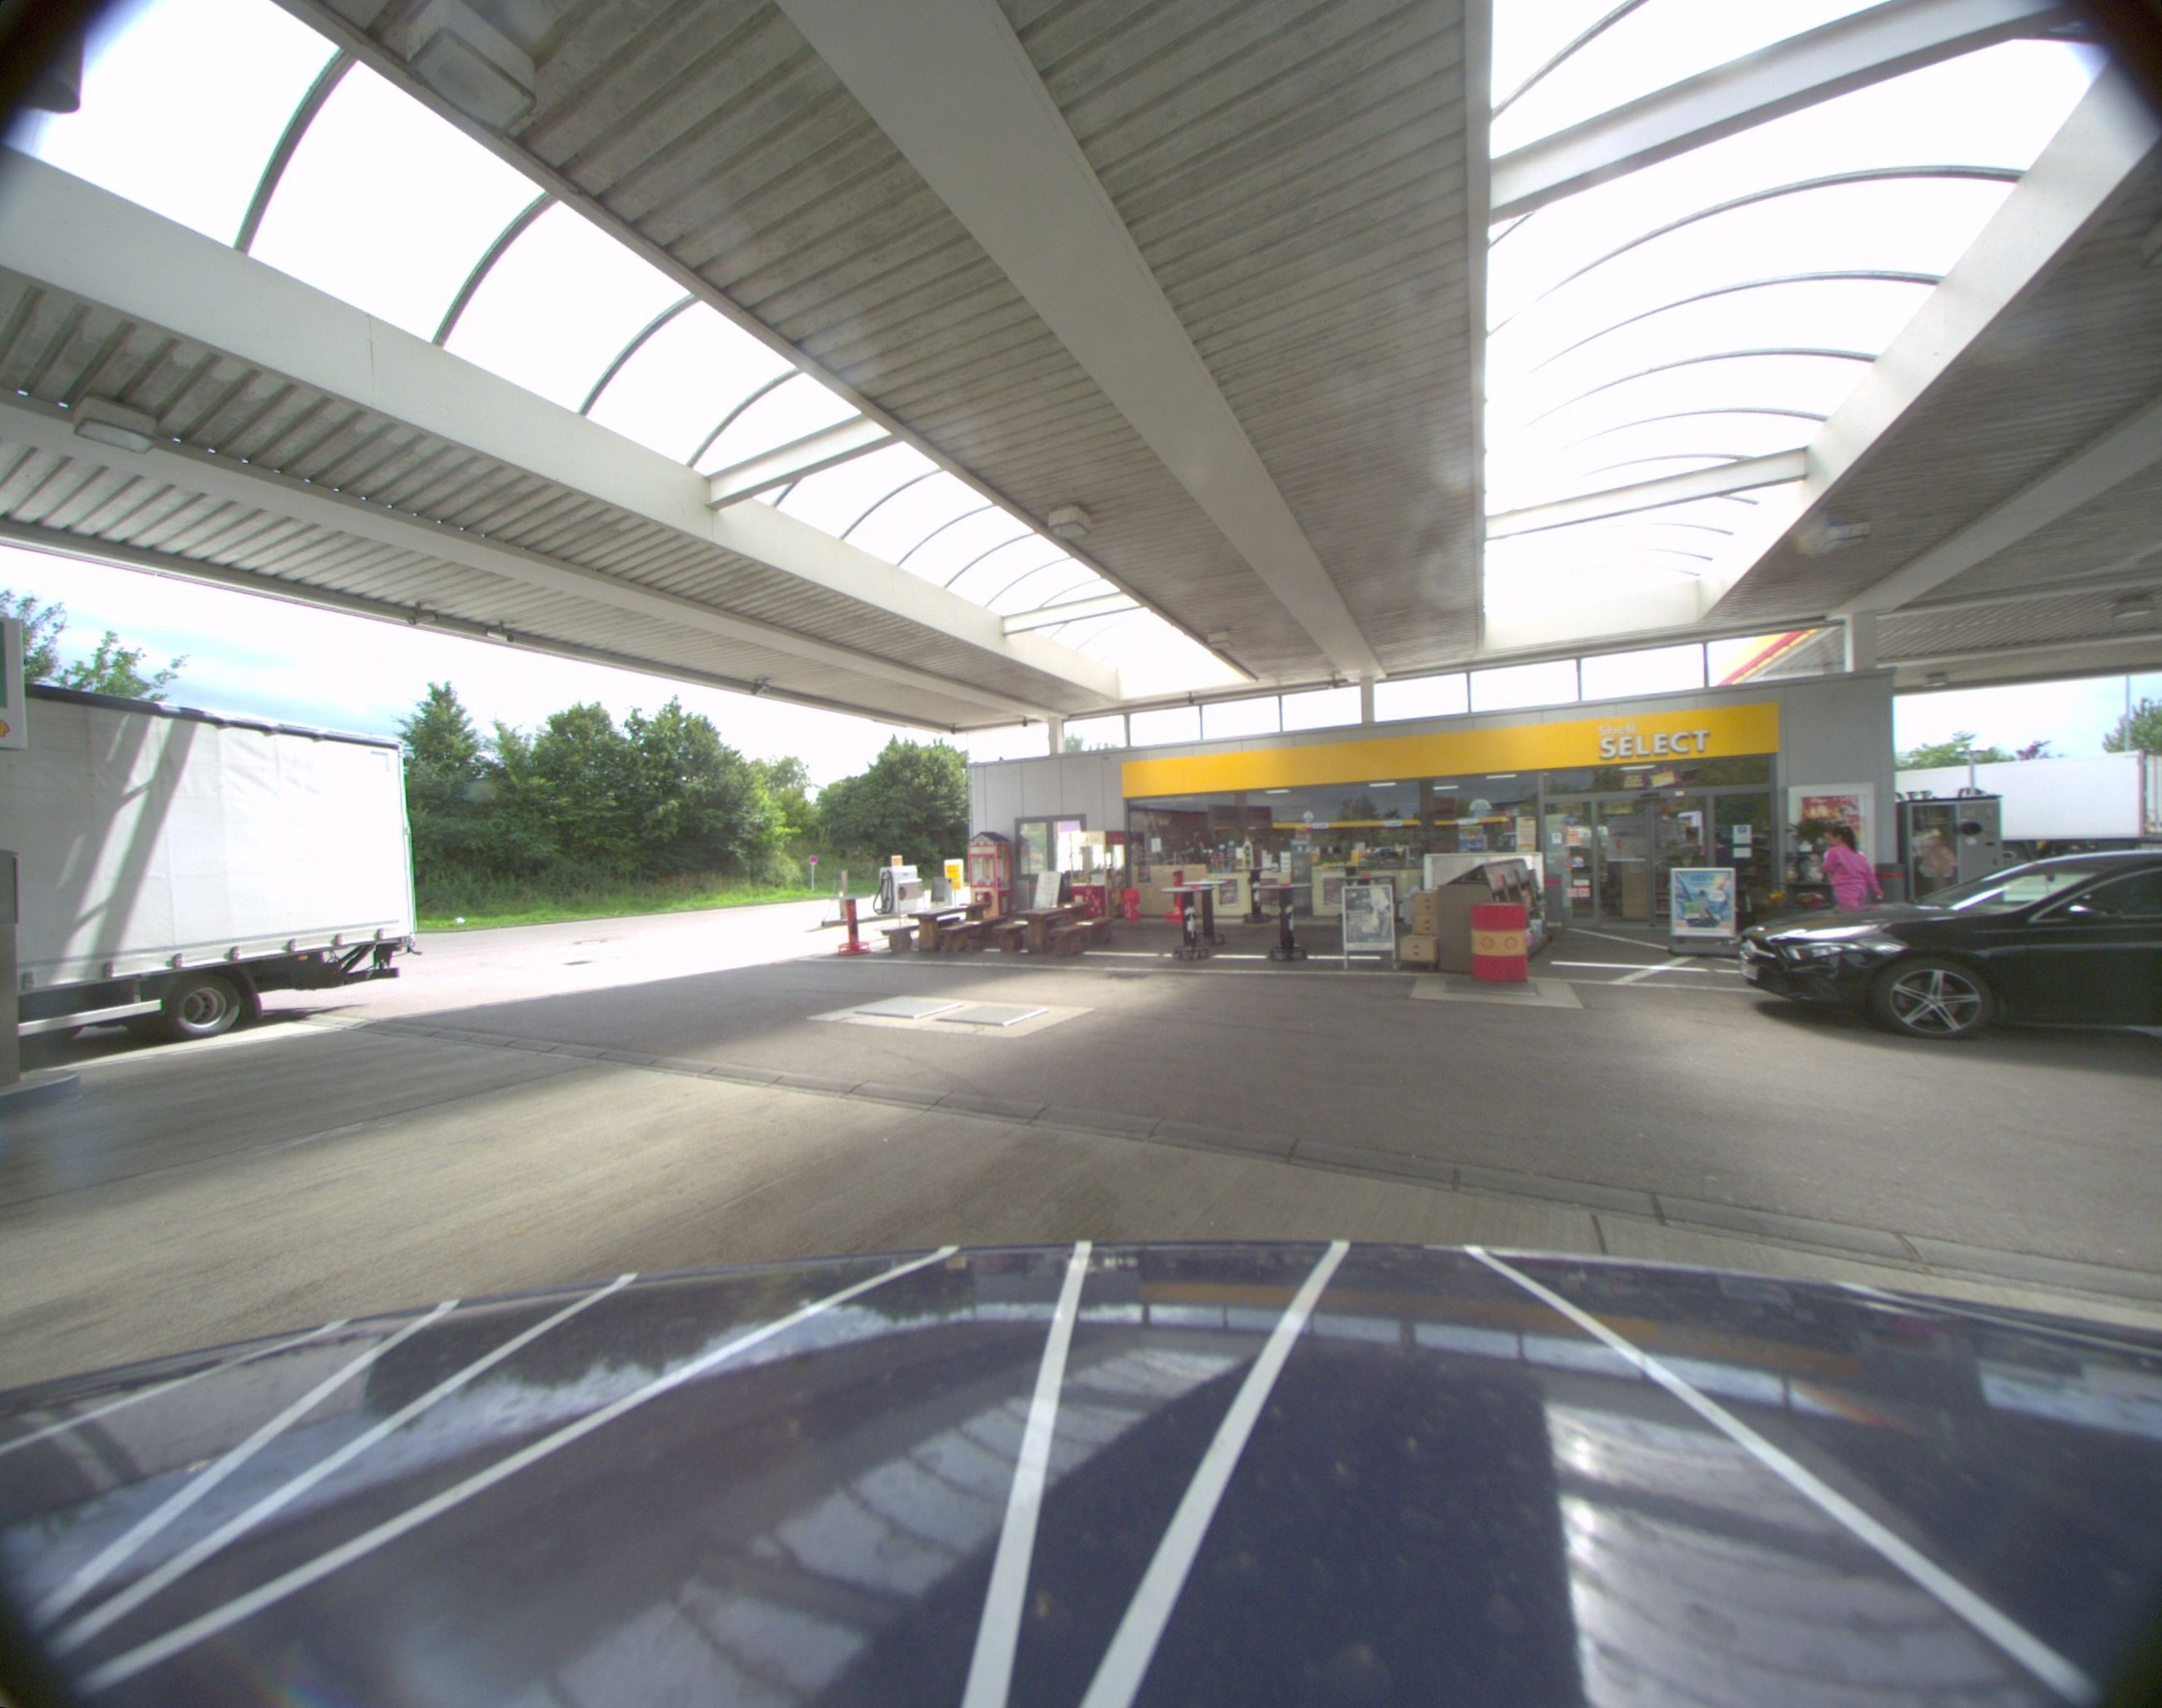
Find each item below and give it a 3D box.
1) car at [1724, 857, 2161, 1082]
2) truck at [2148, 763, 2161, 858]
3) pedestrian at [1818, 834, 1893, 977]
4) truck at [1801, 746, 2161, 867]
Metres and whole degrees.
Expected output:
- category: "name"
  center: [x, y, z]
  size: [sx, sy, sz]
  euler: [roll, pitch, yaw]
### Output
- category: "car"
  center: [8.167, 0.815, 5.967]
  size: [4.461, 1.491, 1.782]
  euler: [-2, 1, 28]
- category: "truck"
  center: [51.487, -2.031, 33.128]
  size: [3.383, 4.479, 6.239]
  euler: [-2, 1, 29]
- category: "pedestrian"
  center: [9.681, 0.617, 9.509]
  size: [0.628, 1.703, 0.621]
  euler: [-3, 2, -44]
- category: "truck"
  center: [35.138, -1.607, 30.050]
  size: [2.796, 3.982, 9.578]
  euler: [-2, 1, -16]
